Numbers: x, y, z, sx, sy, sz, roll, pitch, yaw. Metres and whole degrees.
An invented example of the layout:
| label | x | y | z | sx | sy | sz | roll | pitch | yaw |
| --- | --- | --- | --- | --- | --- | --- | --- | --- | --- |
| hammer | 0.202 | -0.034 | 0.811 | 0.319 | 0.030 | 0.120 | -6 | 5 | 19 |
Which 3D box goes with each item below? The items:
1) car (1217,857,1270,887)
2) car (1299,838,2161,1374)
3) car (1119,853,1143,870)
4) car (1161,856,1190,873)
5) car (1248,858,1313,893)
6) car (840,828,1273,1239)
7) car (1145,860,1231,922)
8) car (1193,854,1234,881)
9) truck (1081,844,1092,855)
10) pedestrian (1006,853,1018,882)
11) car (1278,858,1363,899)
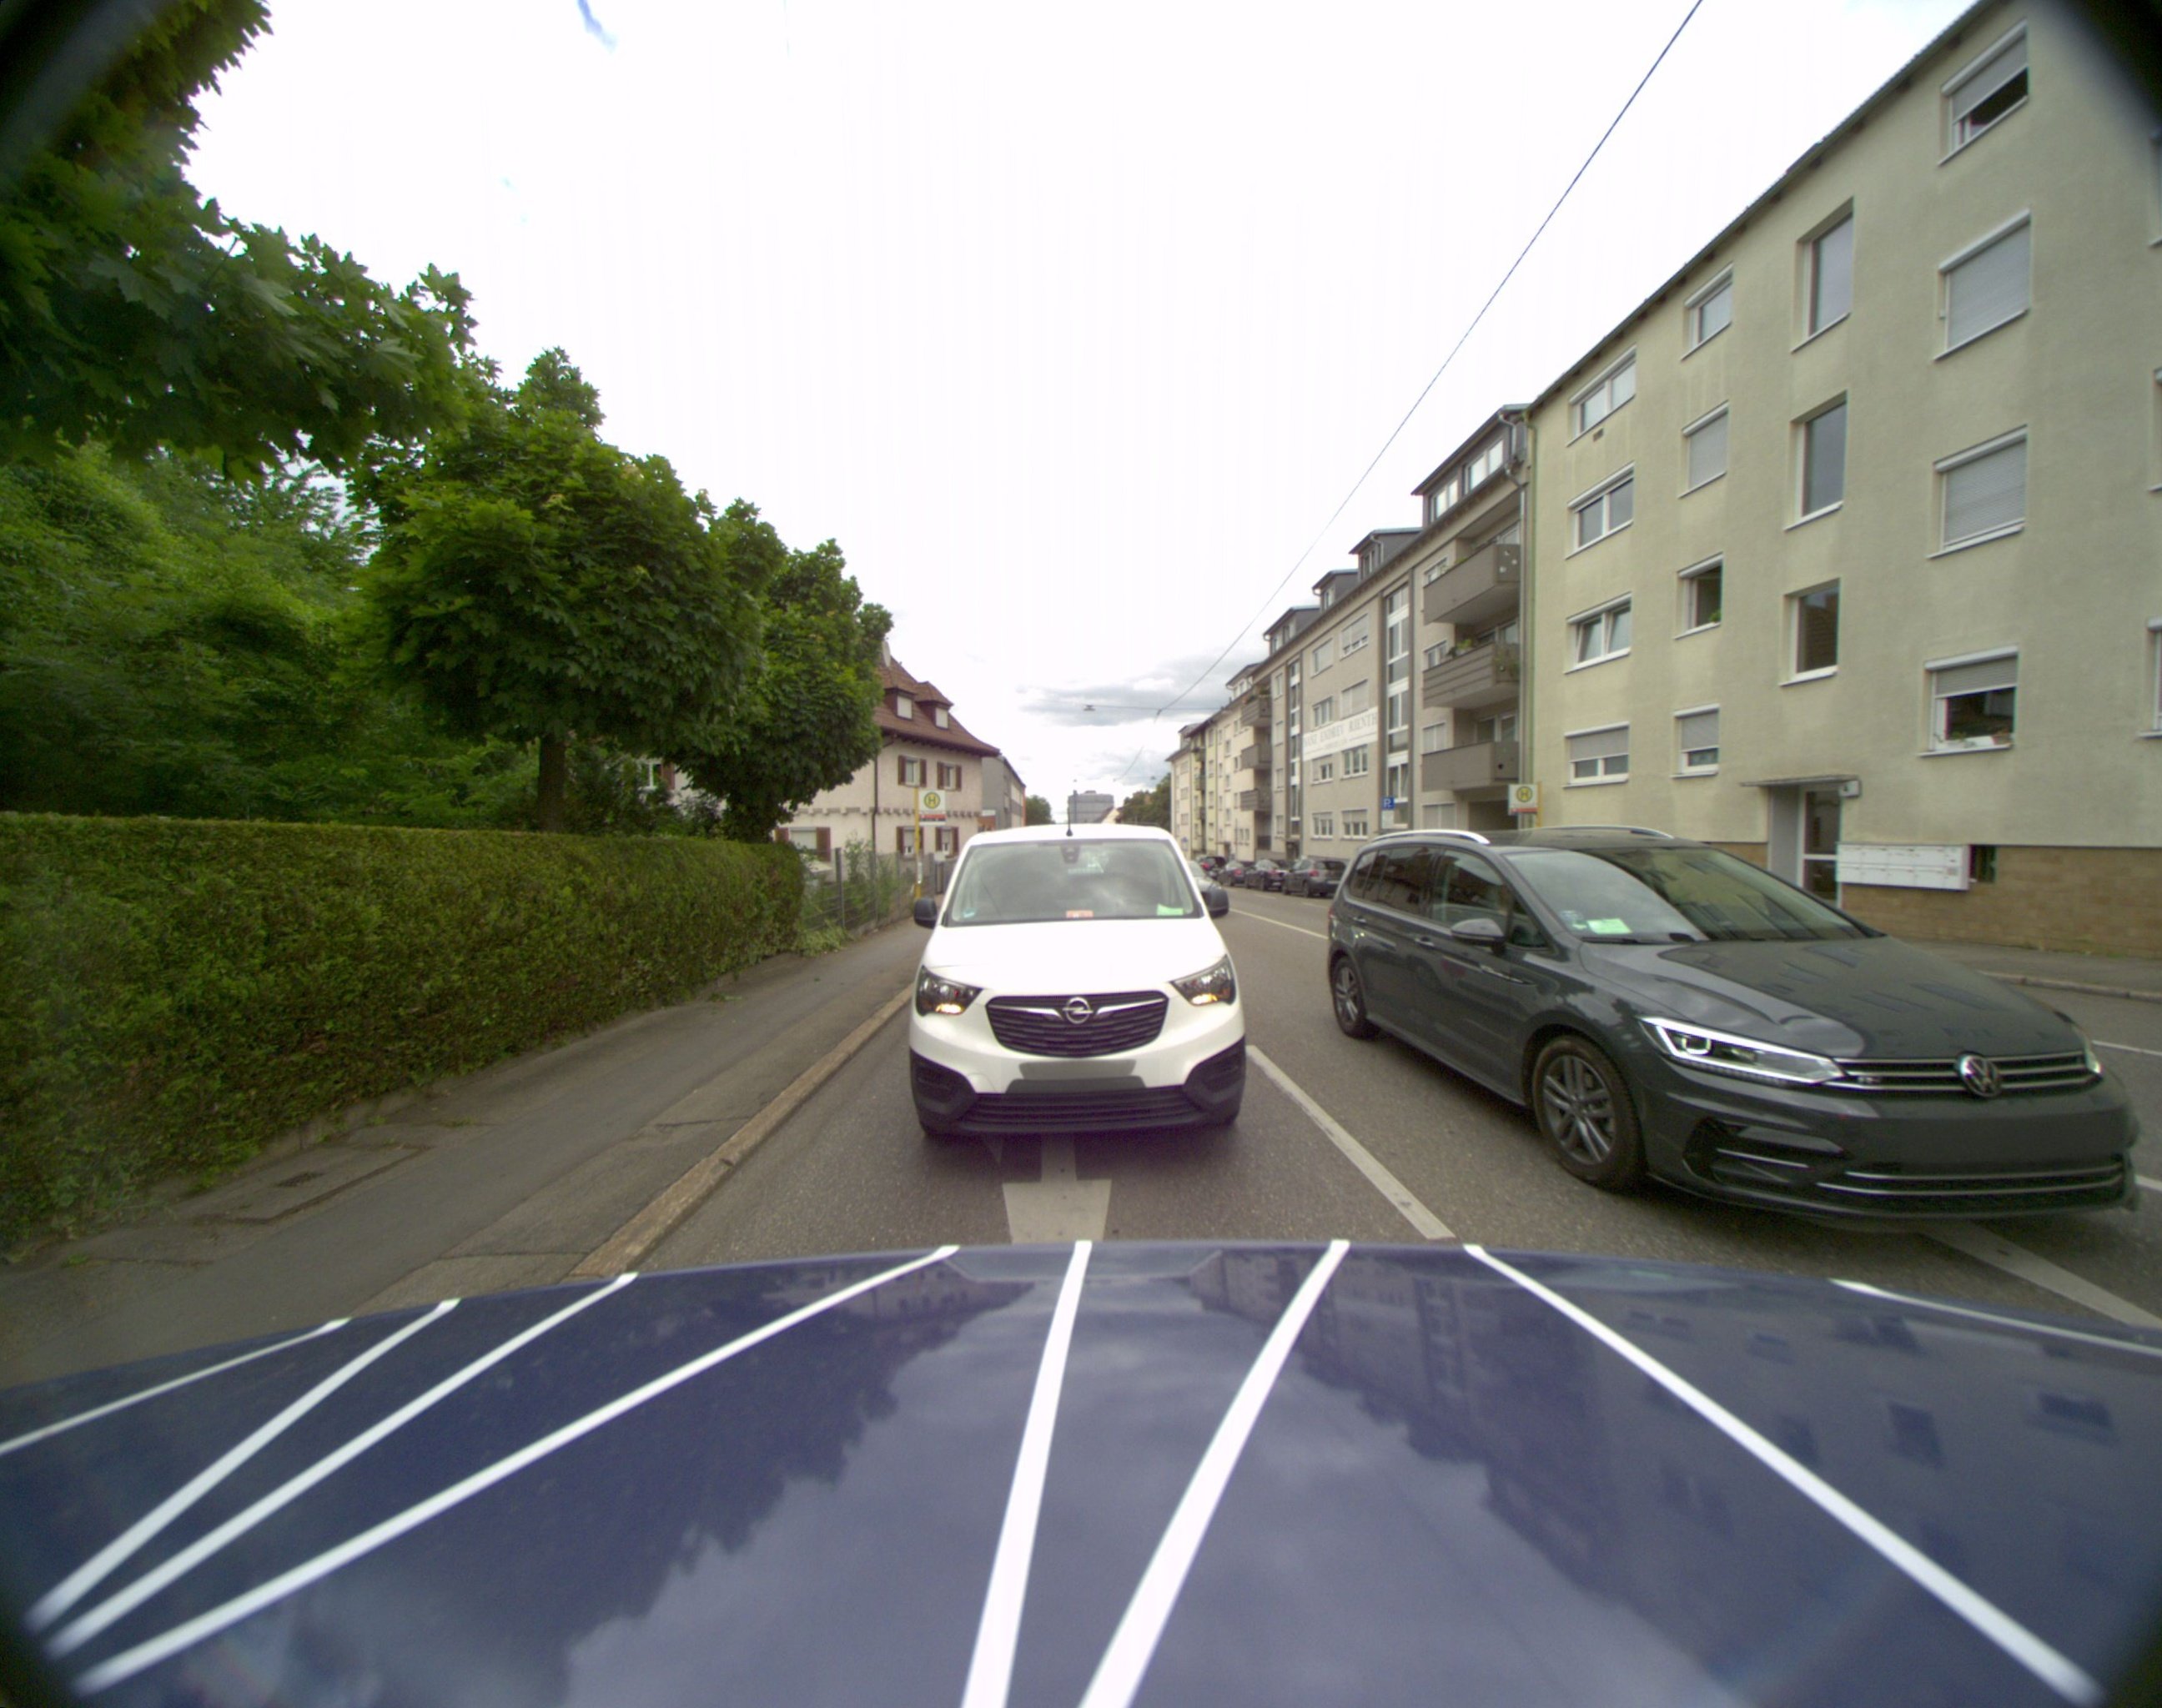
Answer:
| label | x | y | z | sx | sy | sz | roll | pitch | yaw |
| --- | --- | --- | --- | --- | --- | --- | --- | --- | --- |
| car | 8.392 | 0.905 | 39.554 | 1.776 | 1.395 | 3.538 | 0 | 1 | -5 |
| car | 2.997 | 0.760 | 4.620 | 1.863 | 1.601 | 4.478 | -2 | 1 | -2 |
| car | 4.489 | 0.667 | 69.163 | 1.775 | 1.513 | 4.082 | 0 | 1 | -2 |
| car | 8.121 | 0.912 | 65.611 | 1.776 | 1.395 | 3.757 | 0 | 1 | -5 |
| car | 8.732 | 0.911 | 33.525 | 1.669 | 1.368 | 3.538 | 0 | 1 | -5 |
| car | -0.077 | 0.779 | 5.739 | 1.862 | 1.772 | 4.711 | -2 | 1 | 1 |
| car | 2.610 | 0.866 | 19.368 | 1.881 | 1.347 | 4.147 | 0 | 0 | 4 |
| car | 8.437 | 0.852 | 48.688 | 1.776 | 1.591 | 3.538 | 0 | 1 | -5 |
| truck | 1.287 | -1.072 | 176.852 | 2.547 | 2.522 | 5.493 | -1 | 0 | -1 |
| pedestrian | -4.391 | 0.873 | 48.333 | 0.647 | 1.830 | 0.592 | -1 | 1 | 3 |
| car | 8.904 | 0.877 | 28.576 | 1.776 | 1.403 | 3.685 | 0 | 1 | -5 |
